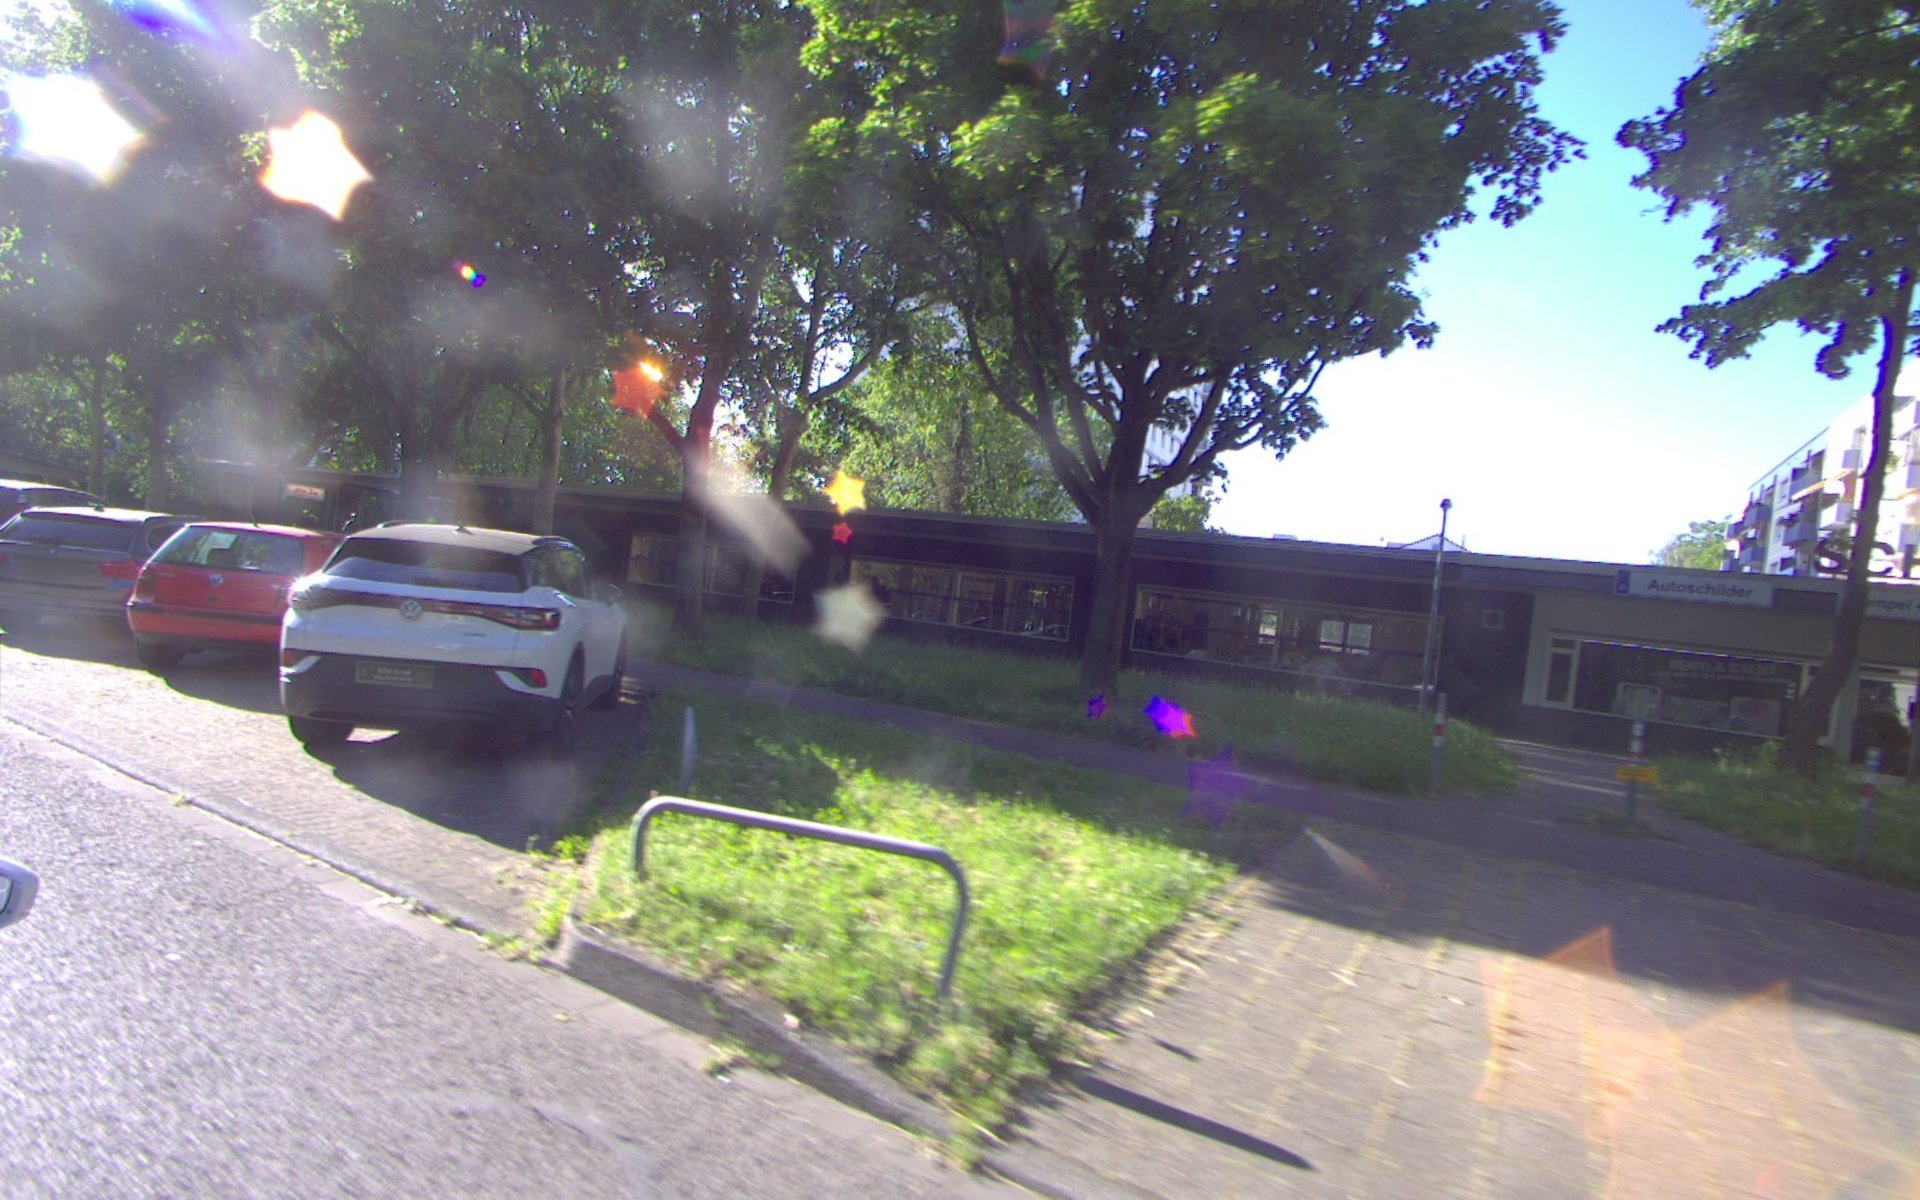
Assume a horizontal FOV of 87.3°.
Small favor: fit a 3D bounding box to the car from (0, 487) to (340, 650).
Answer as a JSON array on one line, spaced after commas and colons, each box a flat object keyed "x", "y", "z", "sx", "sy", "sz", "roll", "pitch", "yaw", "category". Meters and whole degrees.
[{"x": -9.935, "y": -0.370, "z": 12.790, "sx": 1.826, "sy": 1.540, "sz": 4.615, "roll": 7, "pitch": 0, "yaw": -11, "category": "car"}]

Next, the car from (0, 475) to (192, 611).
[{"x": -13.437, "y": -0.842, "z": 14.760, "sx": 1.828, "sy": 1.702, "sz": 4.594, "roll": 5, "pitch": 0, "yaw": -16, "category": "car"}]

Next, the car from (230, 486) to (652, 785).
[{"x": -3.930, "y": 0.258, "z": 8.612, "sx": 1.826, "sy": 1.700, "sz": 4.616, "roll": 6, "pitch": -1, "yaw": -11, "category": "car"}]

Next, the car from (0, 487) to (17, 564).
[{"x": -21.777, "y": -1.776, "z": 20.182, "sx": 1.826, "sy": 1.700, "sz": 4.616, "roll": 7, "pitch": -1, "yaw": -11, "category": "car"}]

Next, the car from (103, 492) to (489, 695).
[{"x": -7.016, "y": -0.032, "z": 11.337, "sx": 1.826, "sy": 1.588, "sz": 4.617, "roll": 8, "pitch": -1, "yaw": -11, "category": "car"}]

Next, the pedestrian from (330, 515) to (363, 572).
[{"x": -23.255, "y": -2.120, "z": 38.142, "sx": 0.740, "sy": 2.038, "sz": 0.817, "roll": 6, "pitch": 1, "yaw": -22, "category": "pedestrian"}]
